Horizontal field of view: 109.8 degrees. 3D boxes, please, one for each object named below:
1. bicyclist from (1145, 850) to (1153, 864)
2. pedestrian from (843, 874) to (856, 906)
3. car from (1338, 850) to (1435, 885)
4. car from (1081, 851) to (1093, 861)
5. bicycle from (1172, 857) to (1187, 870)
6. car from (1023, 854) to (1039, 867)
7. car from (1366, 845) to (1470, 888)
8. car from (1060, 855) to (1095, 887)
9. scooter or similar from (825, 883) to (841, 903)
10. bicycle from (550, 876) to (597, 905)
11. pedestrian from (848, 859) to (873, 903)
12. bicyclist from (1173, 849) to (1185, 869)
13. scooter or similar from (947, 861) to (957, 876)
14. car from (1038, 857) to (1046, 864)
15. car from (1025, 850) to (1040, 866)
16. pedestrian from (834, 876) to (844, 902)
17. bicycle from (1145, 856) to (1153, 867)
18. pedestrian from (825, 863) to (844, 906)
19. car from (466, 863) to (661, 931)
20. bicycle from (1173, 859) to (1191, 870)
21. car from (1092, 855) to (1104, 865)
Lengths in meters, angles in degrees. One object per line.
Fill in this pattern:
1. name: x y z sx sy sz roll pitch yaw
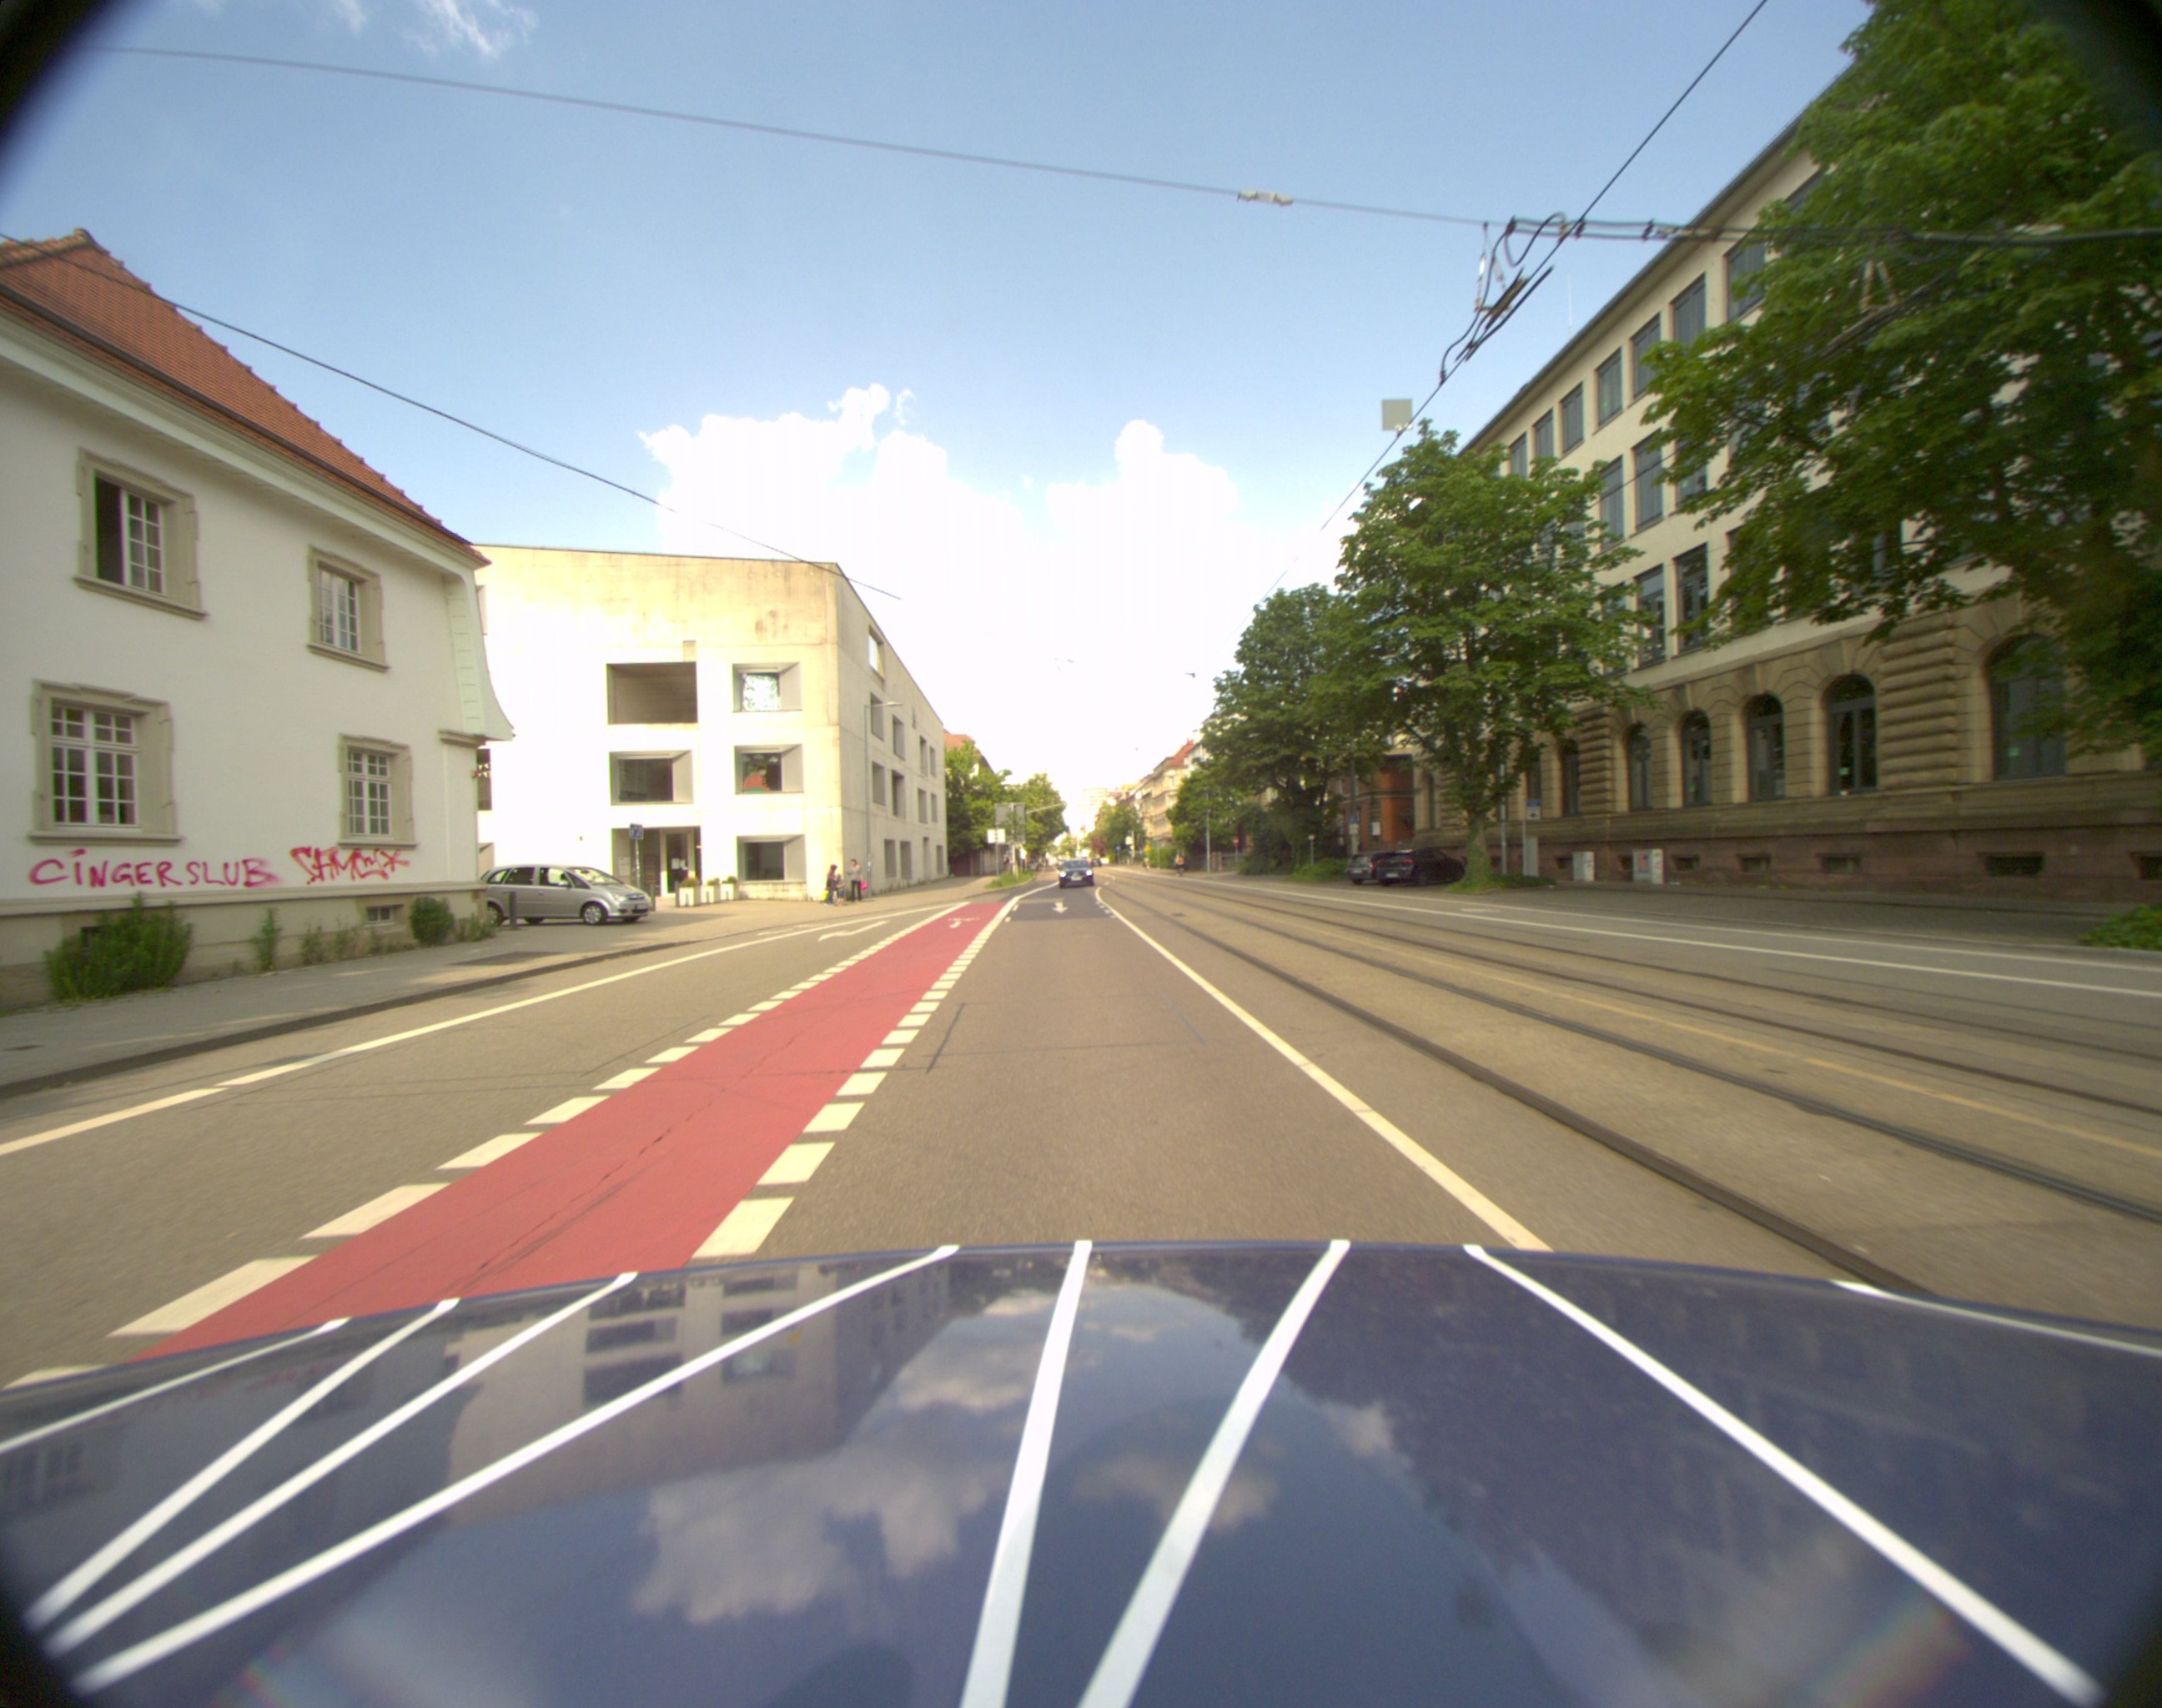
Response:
1. bicyclist: 7.349 0.344 82.246 0.601 1.484 0.882 4 0 0
2. pedestrian: -8.697 1.364 28.554 0.422 1.193 0.405 0 -1 -12
3. car: 13.842 0.592 34.405 4.248 1.439 1.790 -2 0 -30
4. car: 1.105 0.375 150.630 1.903 1.896 5.382 -1 0 -4
5. bicycle: 7.528 0.703 58.140 0.701 1.011 1.818 0 0 -6
6. car: -5.941 0.788 90.450 1.711 1.489 4.787 -1 0 -3
7. car: 14.076 0.496 31.676 4.248 1.541 1.923 -3 0 -34
8. car: -0.226 0.852 40.273 1.694 1.568 4.156 -2 0 -2
9. scooter or similar: -9.681 1.521 29.624 0.551 0.795 0.267 2 -2 -26
10. bicycle: -19.106 1.343 28.645 0.701 1.011 1.818 0 0 -6
11. pedestrian: -8.805 1.069 30.377 0.686 1.714 0.747 0 -1 8
12. bicyclist: 7.512 0.365 58.198 0.693 1.510 0.867 0 0 -6
13. scooter or similar: -10.002 1.125 59.041 0.323 1.174 1.149 -1 1 10
14. car: -7.723 1.267 149.474 1.589 1.436 3.897 -2 0 -3
15. car: -6.246 0.541 98.429 1.900 1.929 4.949 -1 0 -3
16. pedestrian: -9.310 1.332 29.244 0.343 1.004 0.396 0 -1 -11
17. bicycle: 7.315 0.790 82.265 0.604 1.091 2.023 4 0 0
18. pedestrian: -9.262 1.143 28.533 0.520 1.571 0.549 0 -1 0
19. car: -13.280 1.089 19.663 3.889 1.595 1.665 -1 -1 0
20. bicycle: 9.992 1.013 75.196 1.146 0.903 2.988 -5 0 -3
21. car: 2.648 0.950 119.727 1.693 1.393 3.929 1 0 -3
